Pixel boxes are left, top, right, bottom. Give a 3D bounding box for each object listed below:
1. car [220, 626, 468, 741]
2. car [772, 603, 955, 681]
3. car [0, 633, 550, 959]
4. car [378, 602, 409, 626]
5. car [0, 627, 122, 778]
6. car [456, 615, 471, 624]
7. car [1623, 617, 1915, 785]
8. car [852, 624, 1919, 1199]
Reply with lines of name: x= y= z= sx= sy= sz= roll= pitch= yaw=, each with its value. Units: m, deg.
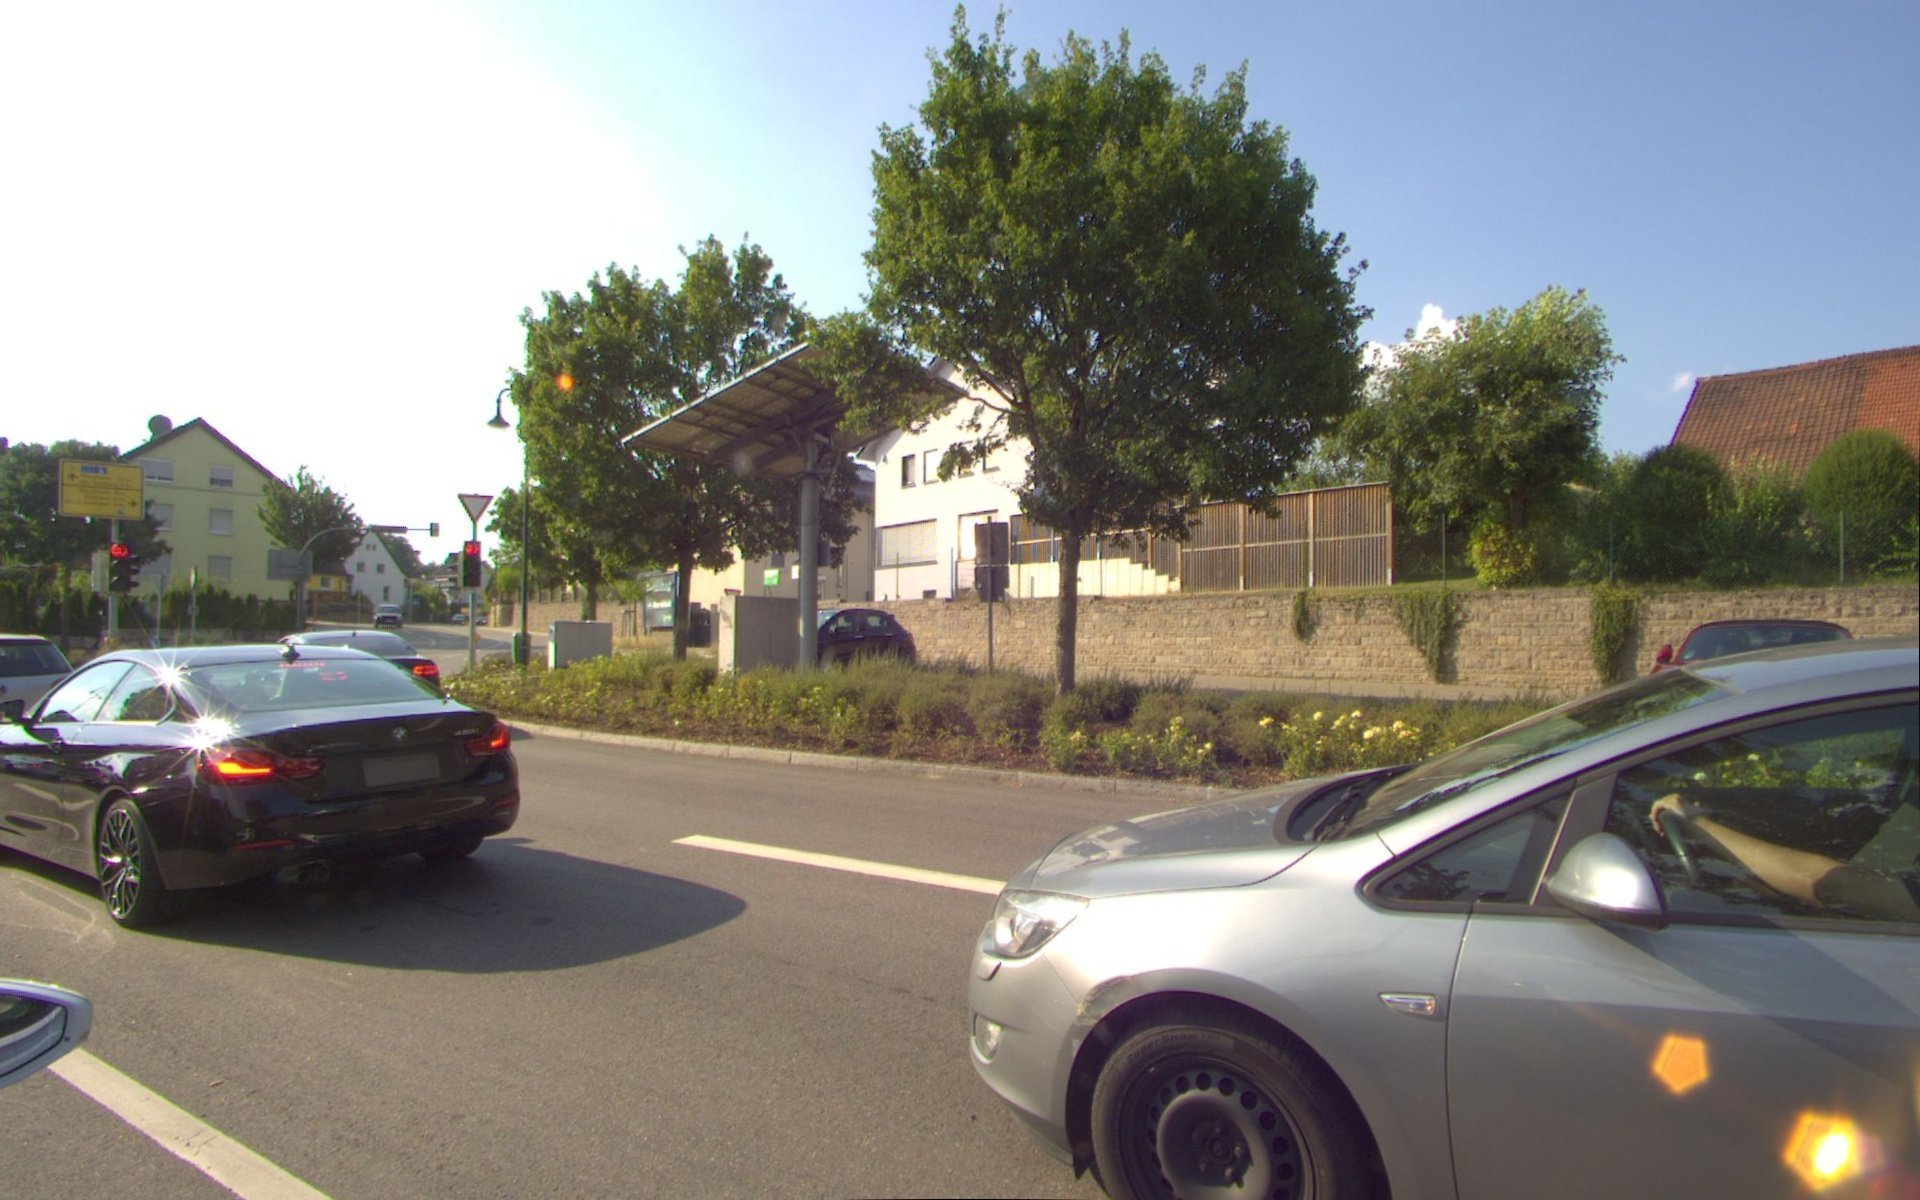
car: x=-9.192 y=1.122 z=14.795 sx=4.532 sy=1.454 sz=1.675 roll=-1 pitch=-2 yaw=38
car: x=-2.153 y=0.955 z=23.092 sx=1.835 sy=1.628 sz=3.964 roll=-1 pitch=-2 yaw=45
car: x=-4.690 y=0.923 z=6.350 sx=4.287 sy=1.406 sz=1.812 roll=-1 pitch=-2 yaw=34
car: x=-40.280 y=0.989 z=71.133 sx=1.768 sy=1.527 sz=4.043 roll=1 pitch=2 yaw=-32
car: x=-11.052 y=1.029 z=10.935 sx=4.287 sy=1.465 sz=1.812 roll=-1 pitch=-2 yaw=34
car: x=-70.329 y=2.773 z=141.838 sx=1.691 sy=1.260 sz=3.981 roll=1 pitch=-1 yaw=-28
car: x=7.984 y=0.847 z=9.747 sx=1.835 sy=1.288 sz=3.964 roll=-1 pitch=-2 yaw=45
car: x=1.901 y=0.793 z=2.356 sx=4.107 sy=1.460 sz=1.741 roll=-1 pitch=-2 yaw=32
